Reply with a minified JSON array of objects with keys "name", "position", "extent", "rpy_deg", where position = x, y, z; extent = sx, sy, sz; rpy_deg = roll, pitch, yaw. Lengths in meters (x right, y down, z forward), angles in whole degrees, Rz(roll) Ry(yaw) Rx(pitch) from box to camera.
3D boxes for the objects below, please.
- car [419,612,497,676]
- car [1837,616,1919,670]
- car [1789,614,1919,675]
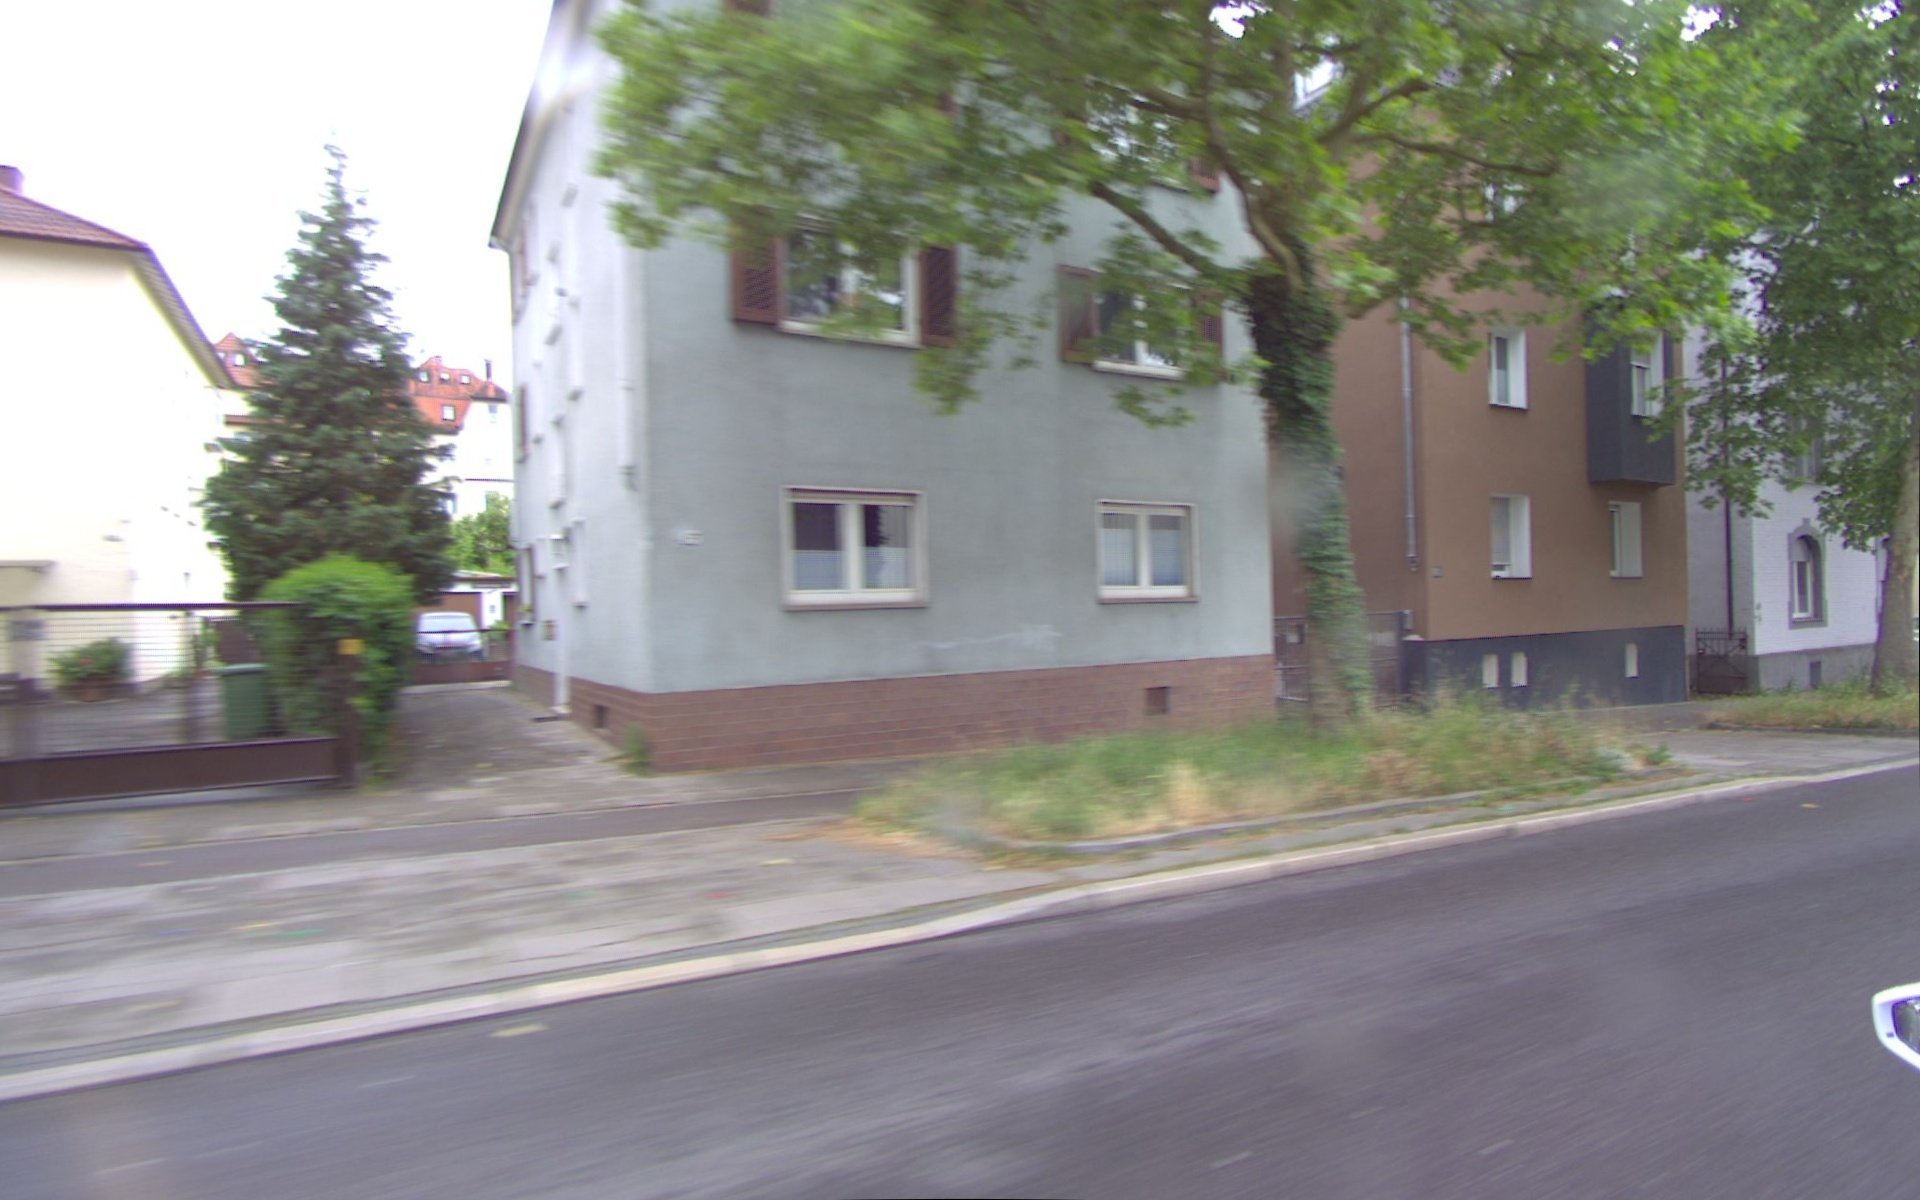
[{"name":"car","position":[-13.471,1.198,26.871],"extent":[1.460,1.581,3.528],"rpy_deg":[1,-3,-33]},{"name":"car","position":[34.991,1.555,36.595],"extent":[1.977,1.917,4.176],"rpy_deg":[1,-1,-30]},{"name":"car","position":[30.556,1.455,33.420],"extent":[1.977,1.917,4.176],"rpy_deg":[1,-1,-30]}]
